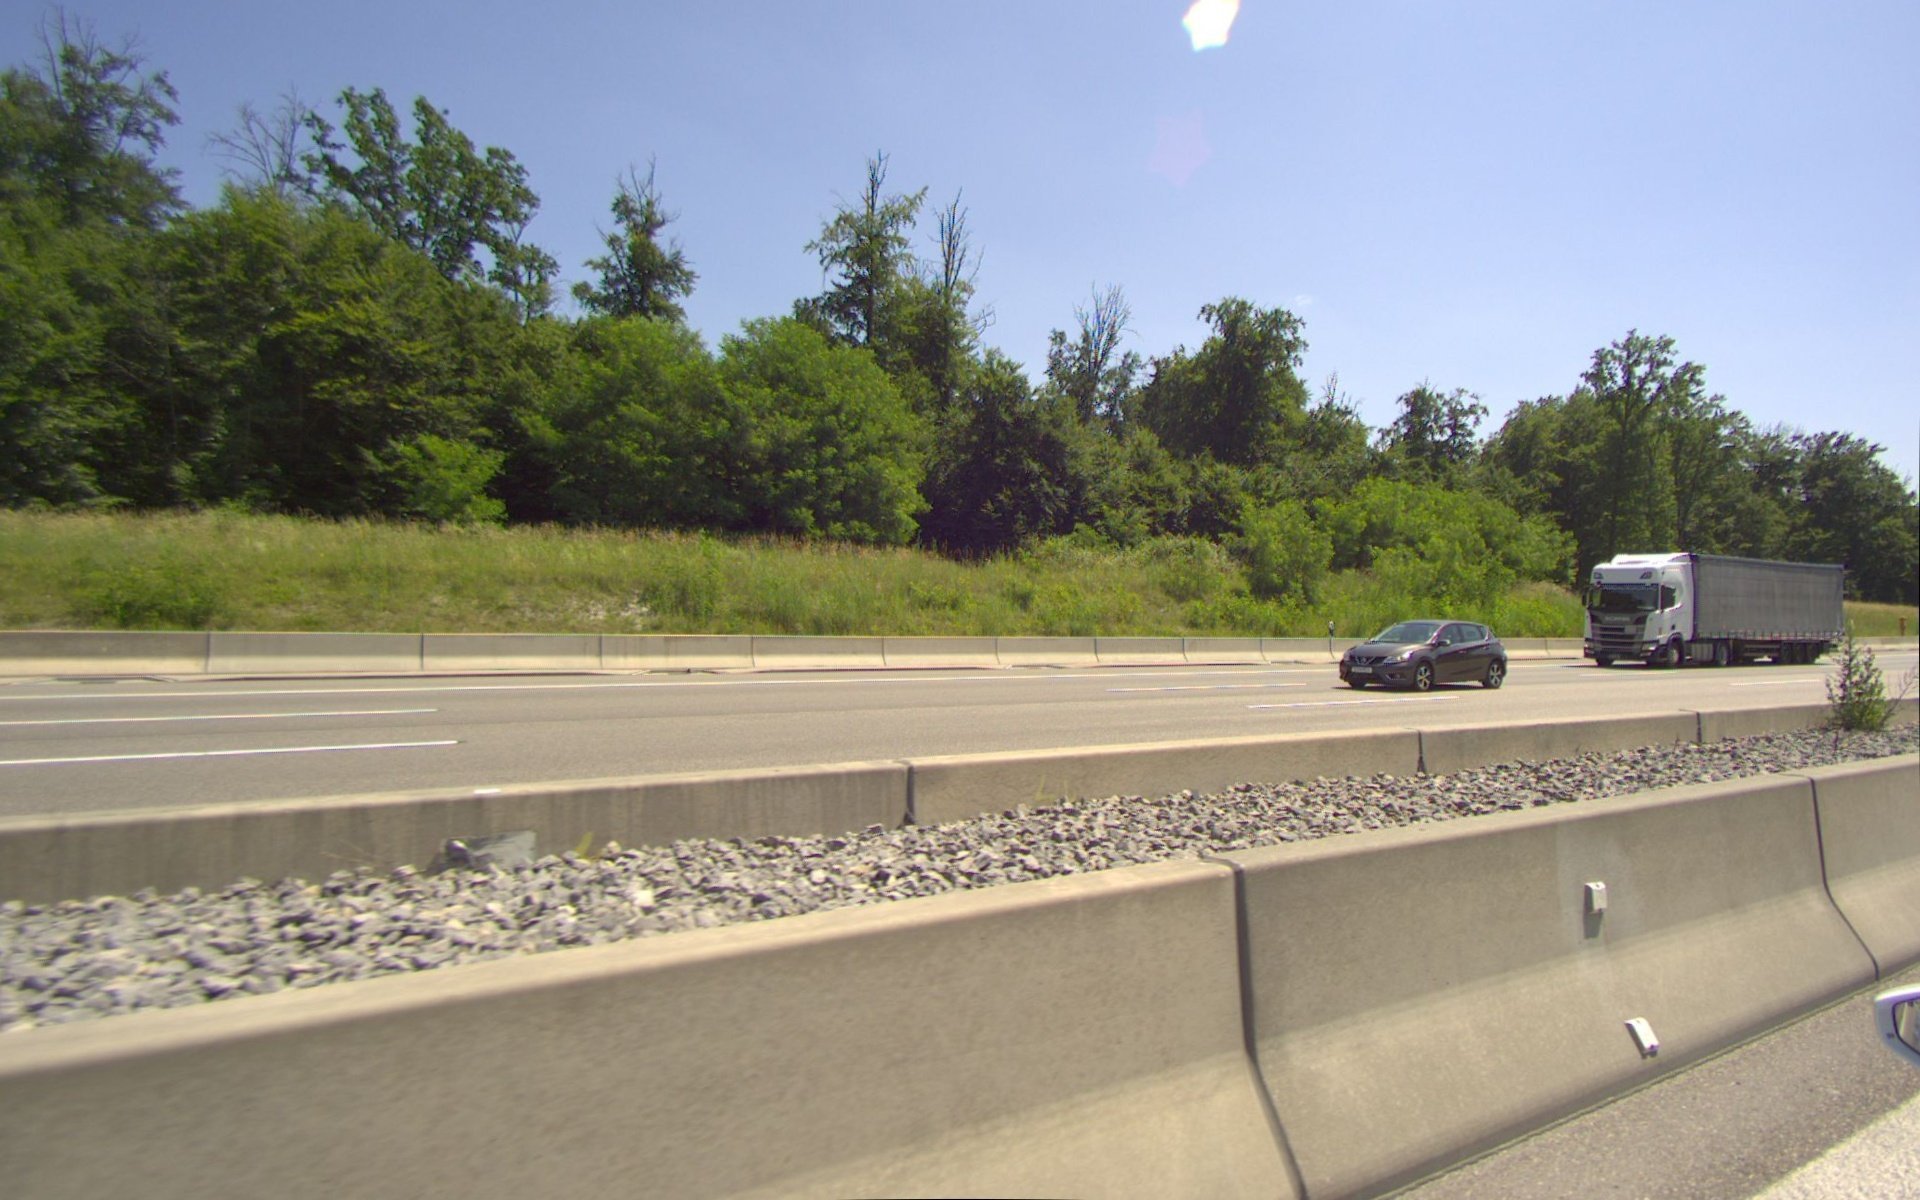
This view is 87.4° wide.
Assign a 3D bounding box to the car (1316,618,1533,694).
[{"bbox_3d":[10.329,1.196,22.249,4.740,1.516,1.985,1,-1,-29],"label":"car"}]

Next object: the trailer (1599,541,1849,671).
[{"bbox_3d":[30.268,0.408,39.388,14.120,4.418,3.014,2,0,-33],"label":"trailer"}]

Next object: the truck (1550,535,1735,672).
[{"bbox_3d":[24.145,0.196,35.486,6.385,4.430,3.025,2,0,-32],"label":"truck"}]

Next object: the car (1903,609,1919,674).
[{"bbox_3d":[32.457,1.357,32.142,5.124,2.040,1.993,1,-1,-30],"label":"car"}]
